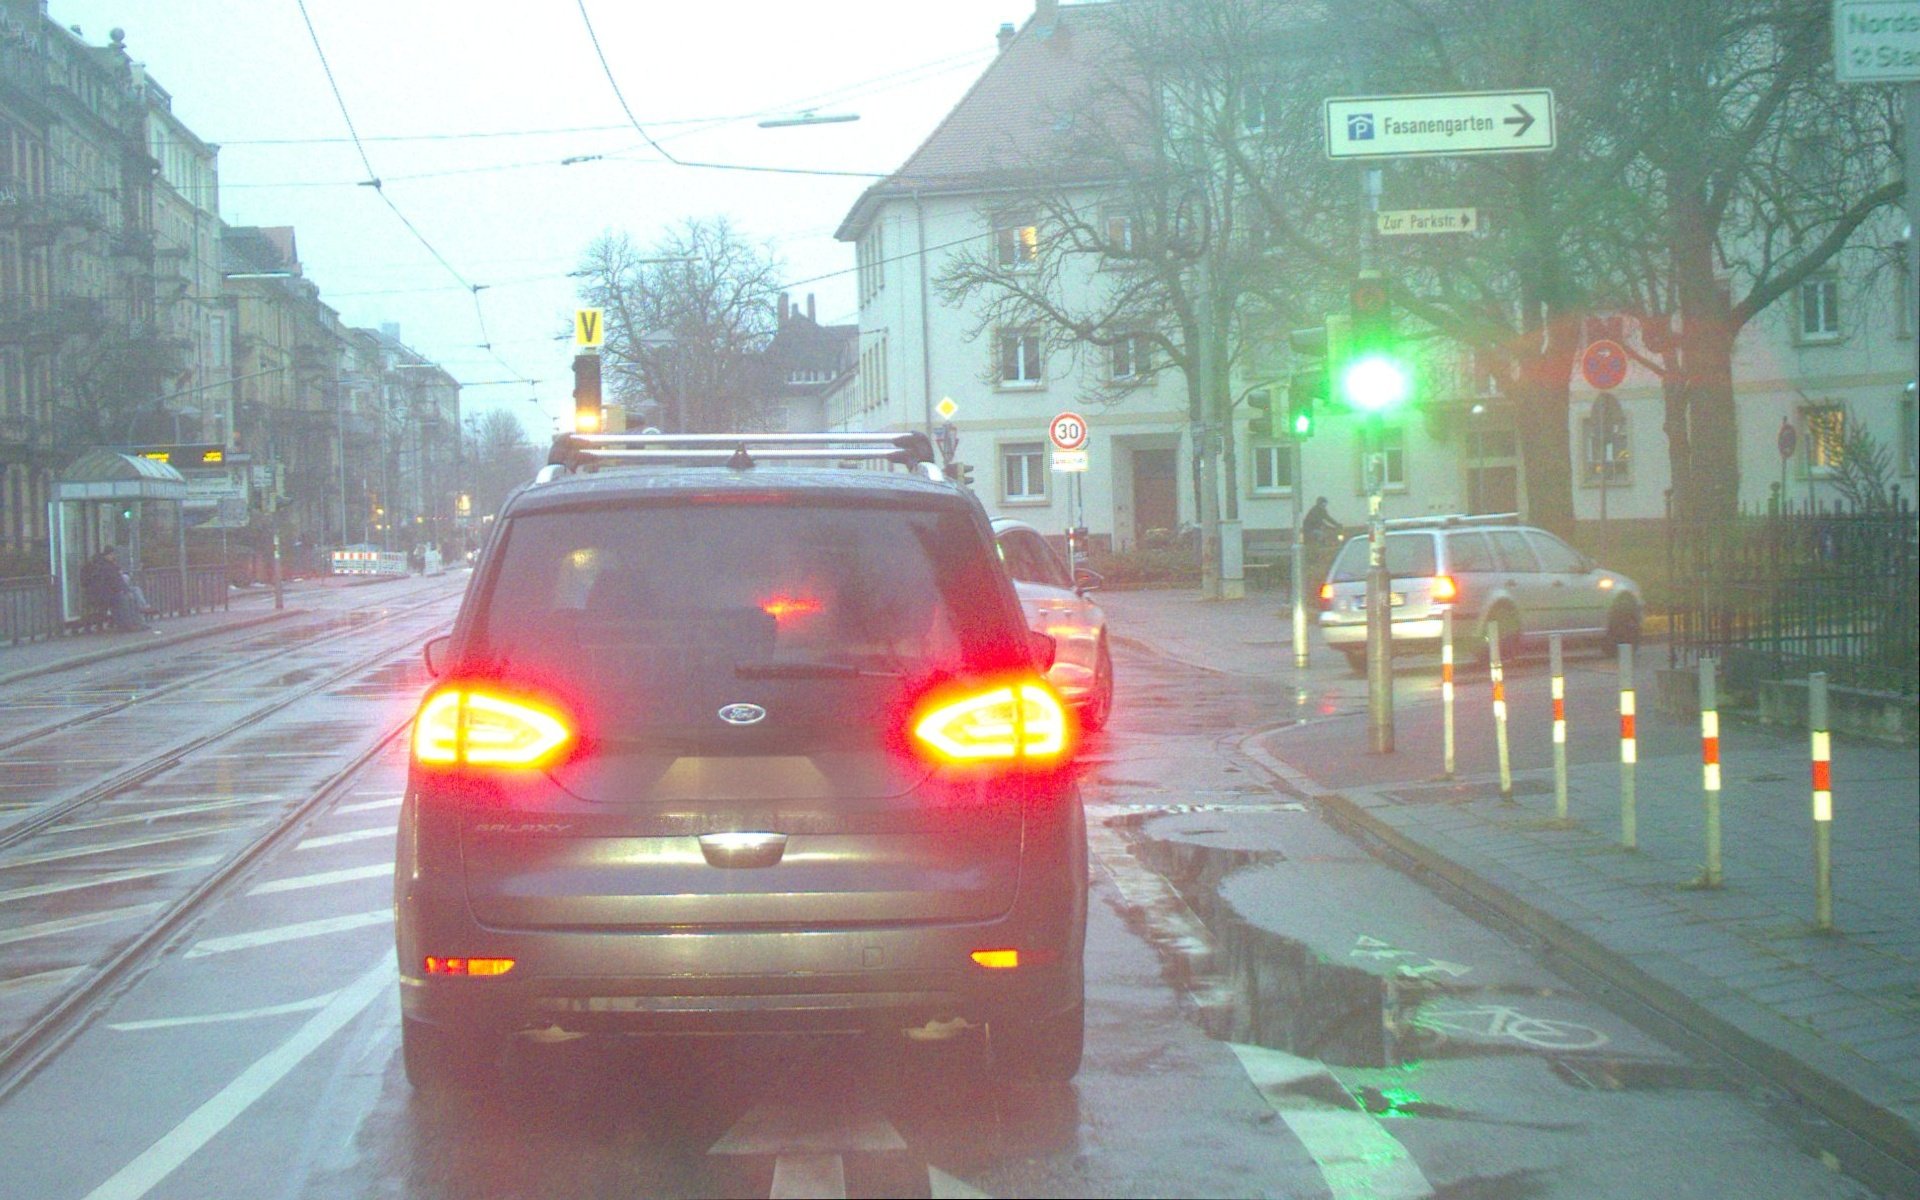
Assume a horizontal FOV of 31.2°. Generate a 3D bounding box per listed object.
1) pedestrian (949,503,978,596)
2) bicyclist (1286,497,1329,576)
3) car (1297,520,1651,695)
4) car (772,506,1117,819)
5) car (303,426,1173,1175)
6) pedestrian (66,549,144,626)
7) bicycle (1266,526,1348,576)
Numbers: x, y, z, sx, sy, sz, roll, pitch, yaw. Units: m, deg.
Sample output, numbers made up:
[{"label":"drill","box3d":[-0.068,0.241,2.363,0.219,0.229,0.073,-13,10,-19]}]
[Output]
[{"label":"pedestrian","box3d":[0.068,-1.087,74.533,0.596,2.007,0.631,-1,0,-1]},{"label":"bicyclist","box3d":[8.535,-1.564,84.480,0.808,1.912,0.707,-1,1,27]},{"label":"car","box3d":[5.239,0.038,34.693,1.712,1.656,3.991,0,1,39]},{"label":"car","box3d":[-0.012,0.381,24.354,1.709,2.007,4.297,-1,1,9]},{"label":"car","box3d":[-0.655,0.439,10.675,2.103,1.810,4.661,0,1,-3]},{"label":"pedestrian","box3d":[-13.571,-0.202,54.574,1.047,1.196,0.885,-1,0,-4]},{"label":"bicycle","box3d":[8.529,-1.198,84.468,1.853,1.179,0.713,-1,1,27]}]
